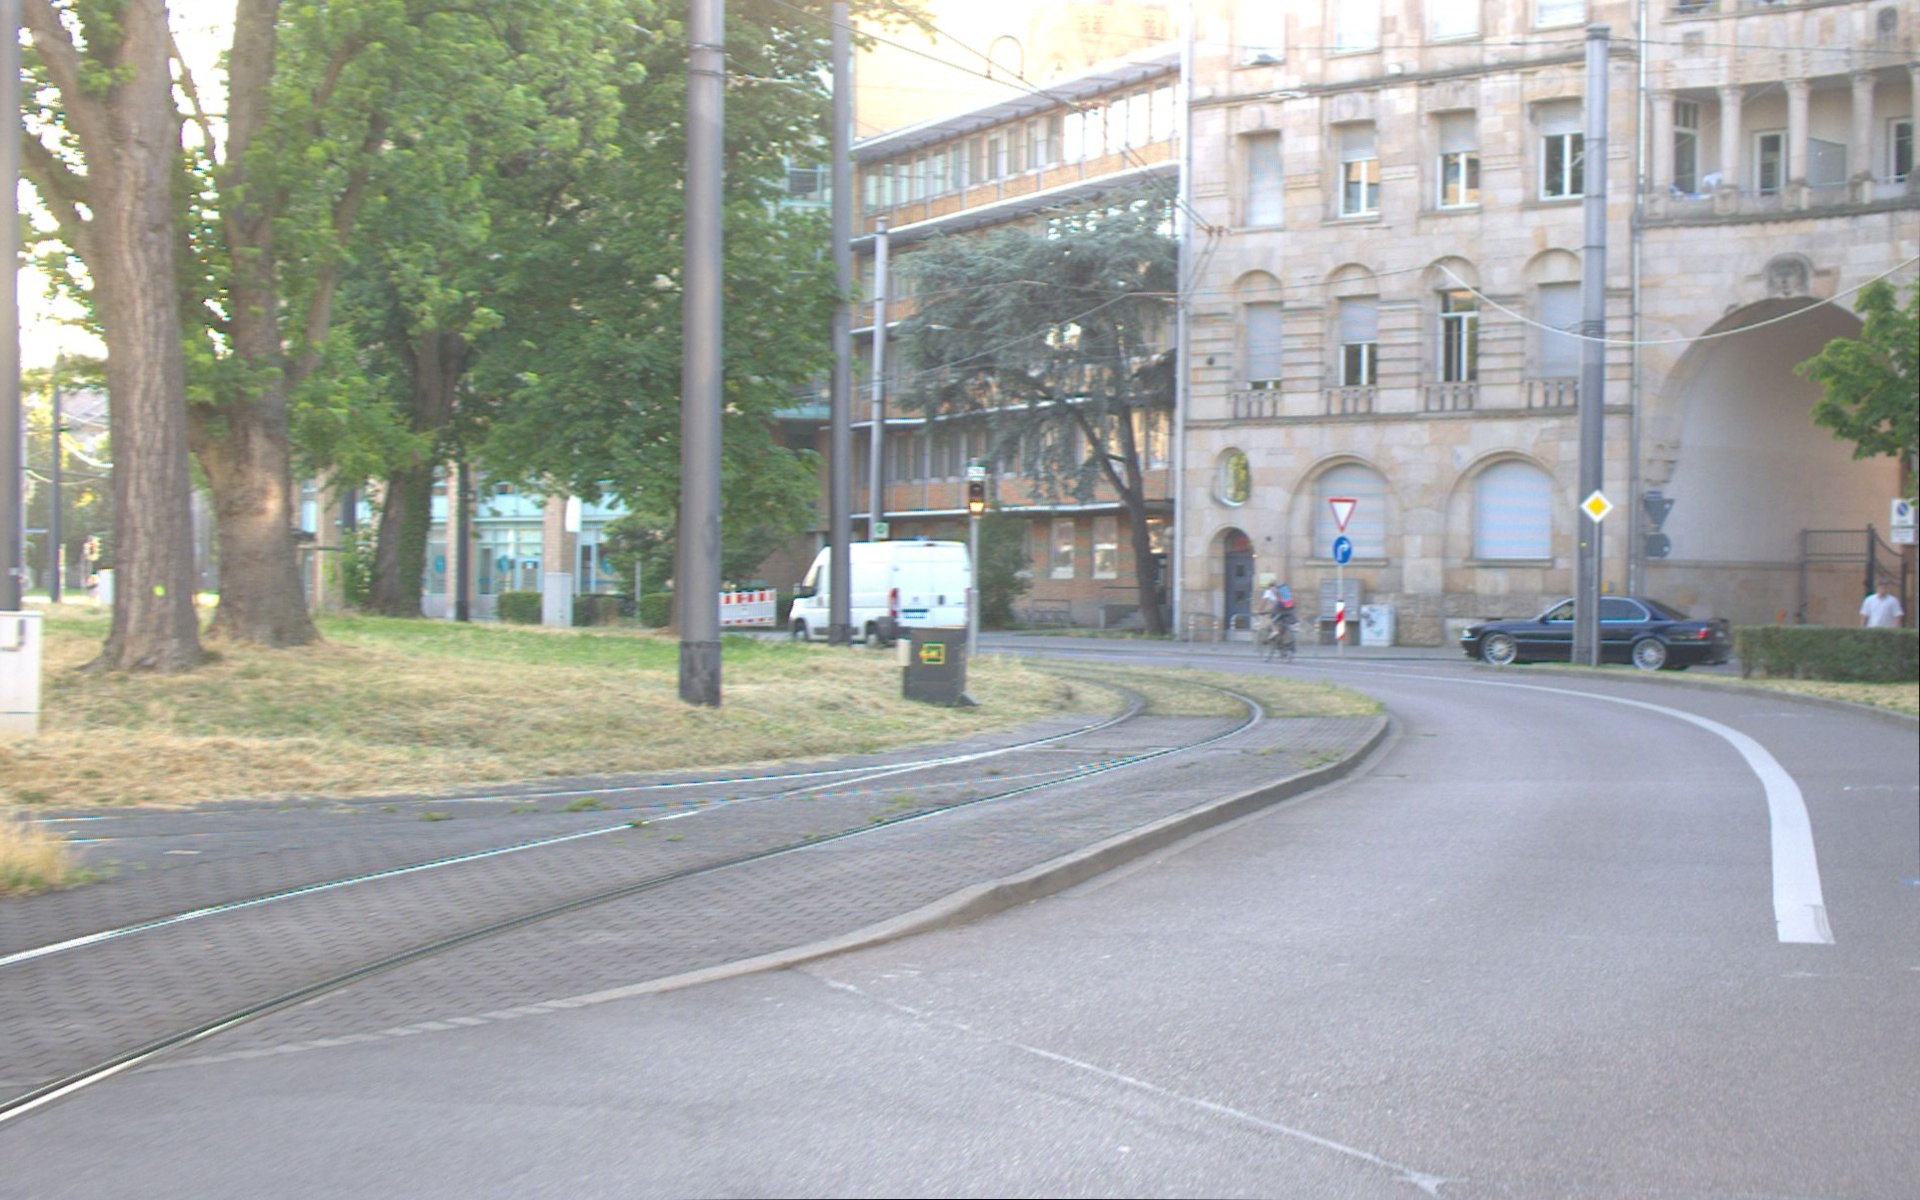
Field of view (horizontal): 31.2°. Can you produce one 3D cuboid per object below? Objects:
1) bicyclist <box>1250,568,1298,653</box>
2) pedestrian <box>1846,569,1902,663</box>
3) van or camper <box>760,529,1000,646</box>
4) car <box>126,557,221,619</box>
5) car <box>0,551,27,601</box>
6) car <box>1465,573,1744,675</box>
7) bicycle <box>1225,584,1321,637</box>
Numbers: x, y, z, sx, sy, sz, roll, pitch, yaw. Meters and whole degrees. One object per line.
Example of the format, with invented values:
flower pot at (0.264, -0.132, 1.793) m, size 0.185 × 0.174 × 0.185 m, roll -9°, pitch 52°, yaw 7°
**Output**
bicyclist at (6.090, 0.201, 66.649) m, size 0.509 × 1.636 × 0.775 m, roll 1°, pitch 1°, yaw -36°
pedestrian at (14.888, 0.264, 56.014) m, size 0.593 × 1.506 × 0.685 m, roll 2°, pitch 1°, yaw 43°
van or camper at (-1.867, -0.326, 76.845) m, size 2.607 × 2.464 × 6.320 m, roll 0°, pitch 1°, yaw -30°
car at (-26.078, -0.419, 113.931) m, size 1.993 × 1.963 × 4.000 m, roll 0°, pitch 1°, yaw -30°
car at (-39.471, -1.009, 140.375) m, size 2.138 × 2.007 × 4.001 m, roll 1°, pitch 1°, yaw -23°
car at (11.907, 0.423, 63.549) m, size 4.760 × 1.756 × 1.818 m, roll 1°, pitch 1°, yaw 24°
bicycle at (6.063, 0.200, 66.690) m, size 0.509 × 0.975 × 2.242 m, roll 1°, pitch 1°, yaw -36°
